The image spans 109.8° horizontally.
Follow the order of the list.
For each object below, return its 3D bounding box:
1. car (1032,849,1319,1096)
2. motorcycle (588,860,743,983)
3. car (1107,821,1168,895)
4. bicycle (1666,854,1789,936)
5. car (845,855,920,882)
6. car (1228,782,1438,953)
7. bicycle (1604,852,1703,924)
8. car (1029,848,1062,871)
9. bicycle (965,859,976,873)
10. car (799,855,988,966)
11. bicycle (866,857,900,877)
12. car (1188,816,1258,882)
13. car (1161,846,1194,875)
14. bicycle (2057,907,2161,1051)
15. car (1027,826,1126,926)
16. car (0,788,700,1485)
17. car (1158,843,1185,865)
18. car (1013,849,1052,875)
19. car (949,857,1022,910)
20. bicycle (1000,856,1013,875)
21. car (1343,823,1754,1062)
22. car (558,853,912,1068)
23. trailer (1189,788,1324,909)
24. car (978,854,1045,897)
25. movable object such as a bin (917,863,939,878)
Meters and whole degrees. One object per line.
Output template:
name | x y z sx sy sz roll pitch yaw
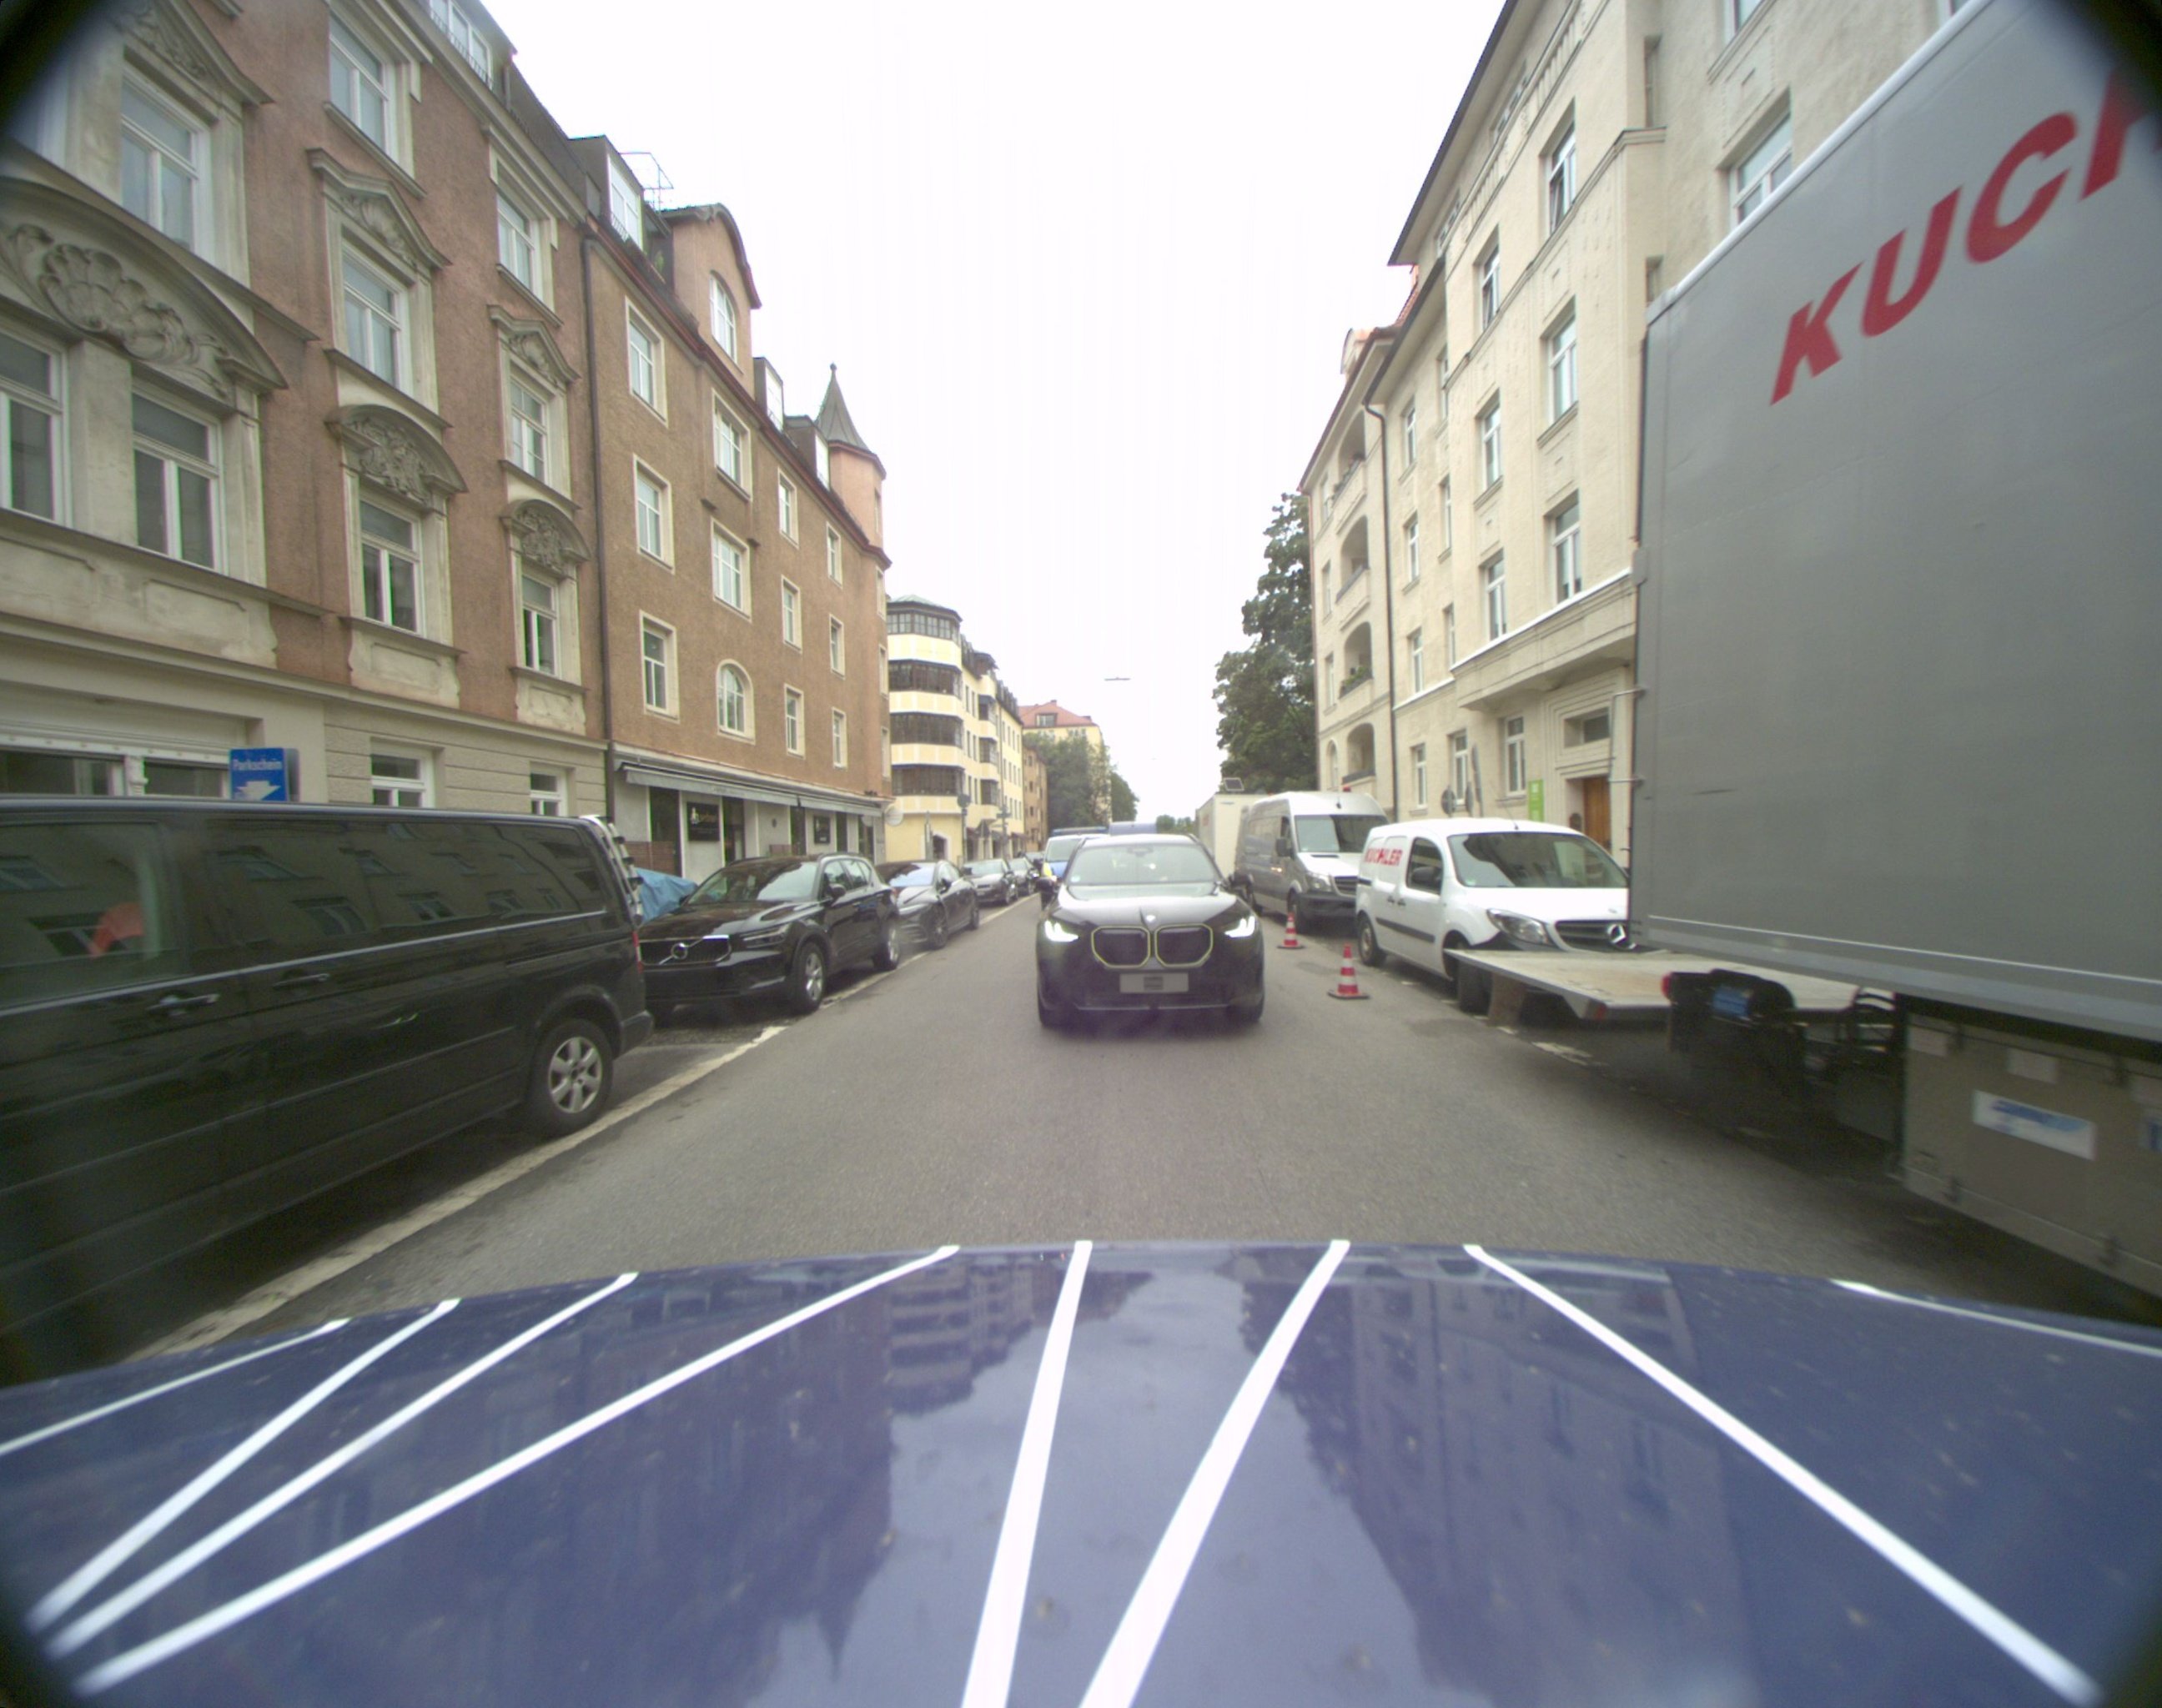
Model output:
car | 0.571 0.782 7.259 1.922 1.557 4.292 -1 1 -2
motorcycle | -5.707 0.860 10.615 0.873 1.496 1.997 -2 1 5
car | 2.137 0.061 29.227 2.005 2.477 6.232 -2 2 3
bicycle | 9.618 0.570 11.384 0.429 1.098 1.736 -2 1 3
car | -11.257 0.844 43.296 3.741 1.431 1.753 -1 -2 7
car | 4.573 0.172 15.229 2.060 2.572 6.877 2 1 2
bicycle | 9.674 0.542 12.919 0.429 1.098 1.743 -2 1 3
car | -2.671 0.395 57.922 1.817 1.580 4.165 3 2 7
bicycle | -7.424 0.797 51.008 0.262 0.897 1.695 3 2 5
car | -3.179 0.859 14.300 1.935 1.544 5.637 -2 0 2
bicycle | -12.175 0.822 46.748 1.904 1.180 0.515 -1 1 4
car | 6.124 -0.214 33.608 2.146 2.557 6.795 -2 0 3
car | 6.058 0.356 47.961 1.817 1.580 4.164 3 2 5
bicycle | 9.086 1.060 5.994 0.508 1.098 1.766 -5 1 2
car | 0.057 0.448 19.290 1.826 2.087 5.635 -3 0 6
car | -3.997 0.784 2.916 2.087 1.910 5.139 -3 3 4
car | 6.928 -0.038 57.711 1.816 1.455 4.166 3 2 8
car | -3.289 0.513 52.710 2.111 1.613 4.497 -2 1 4
car | -2.882 0.856 23.694 1.576 1.386 4.182 -1 1 2
bicycle | -4.778 0.732 48.736 0.430 1.152 2.053 0 1 5
car | 4.212 0.628 7.823 1.767 1.768 4.327 0 1 4
car | -3.485 0.930 8.771 1.697 1.667 4.408 -5 1 4
trailer | 4.897 -0.138 22.718 2.809 2.952 7.602 1 0 5
car | -2.561 0.779 29.289 1.851 1.397 4.788 -2 1 3
movable object such as a bin | -9.036 0.972 44.911 1.125 0.895 0.684 -1 1 4
